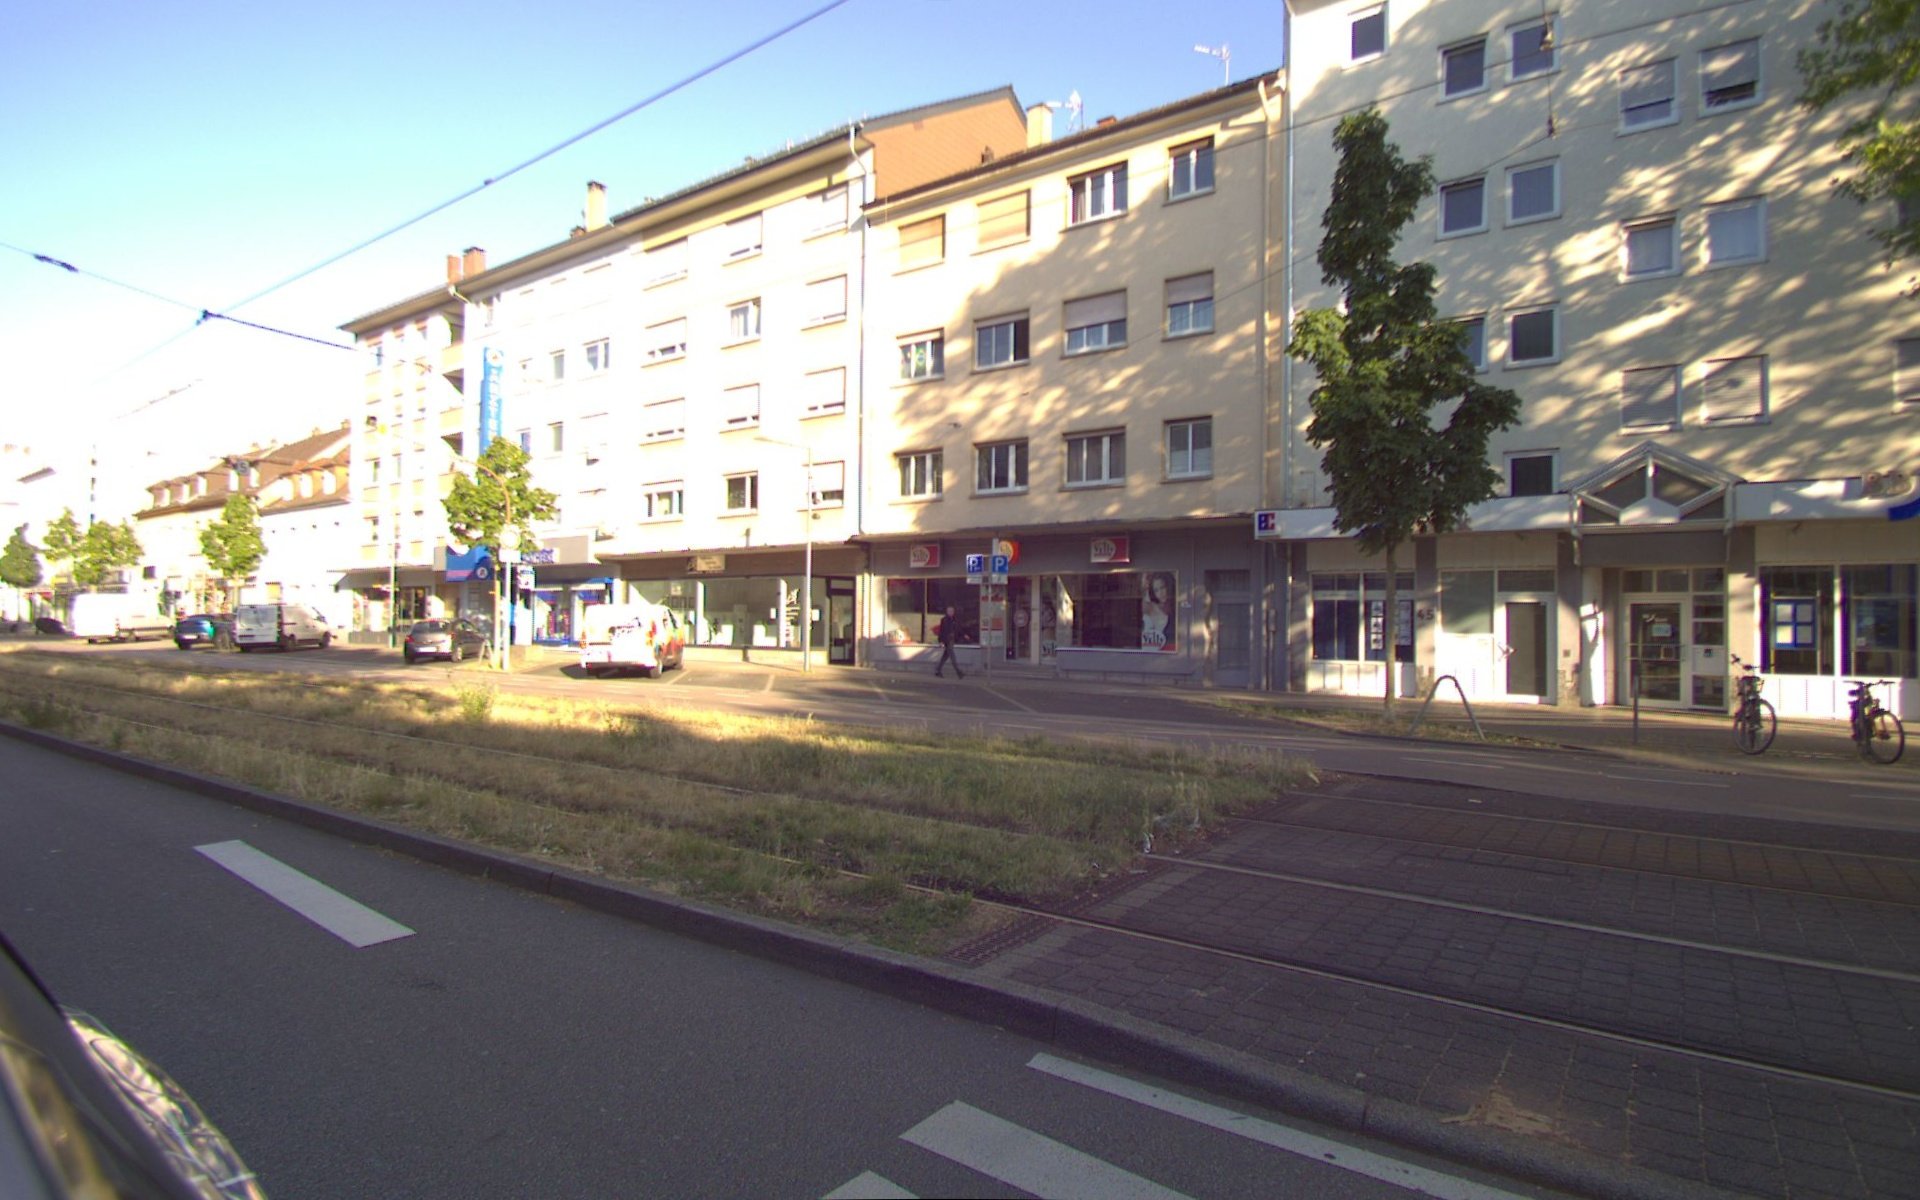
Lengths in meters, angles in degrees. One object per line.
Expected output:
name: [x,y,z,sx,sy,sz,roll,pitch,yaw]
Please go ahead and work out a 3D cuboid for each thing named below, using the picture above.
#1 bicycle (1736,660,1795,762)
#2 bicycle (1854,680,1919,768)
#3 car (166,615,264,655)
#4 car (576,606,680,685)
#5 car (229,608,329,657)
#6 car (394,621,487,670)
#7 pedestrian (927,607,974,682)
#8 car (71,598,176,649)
bicycle: [10.304,1.378,12.977,0.511,1.147,1.724,-1,-1,36]
bicycle: [11.338,1.480,12.356,0.471,0.895,1.724,-1,-1,36]
car: [-34.165,1.554,46.527,1.830,1.727,3.919,0,0,-4]
car: [-8.790,1.145,27.119,1.830,1.913,4.005,0,0,-6]
car: [-28.634,1.301,42.729,1.828,1.952,4.514,0,0,-10]
car: [-17.533,1.499,34.328,1.708,1.508,4.009,0,0,-10]
pedestrian: [-0.243,1.103,25.501,0.916,1.841,0.747,-1,-1,41]
car: [-45.389,1.214,55.112,1.895,2.634,6.608,0,0,-16]
